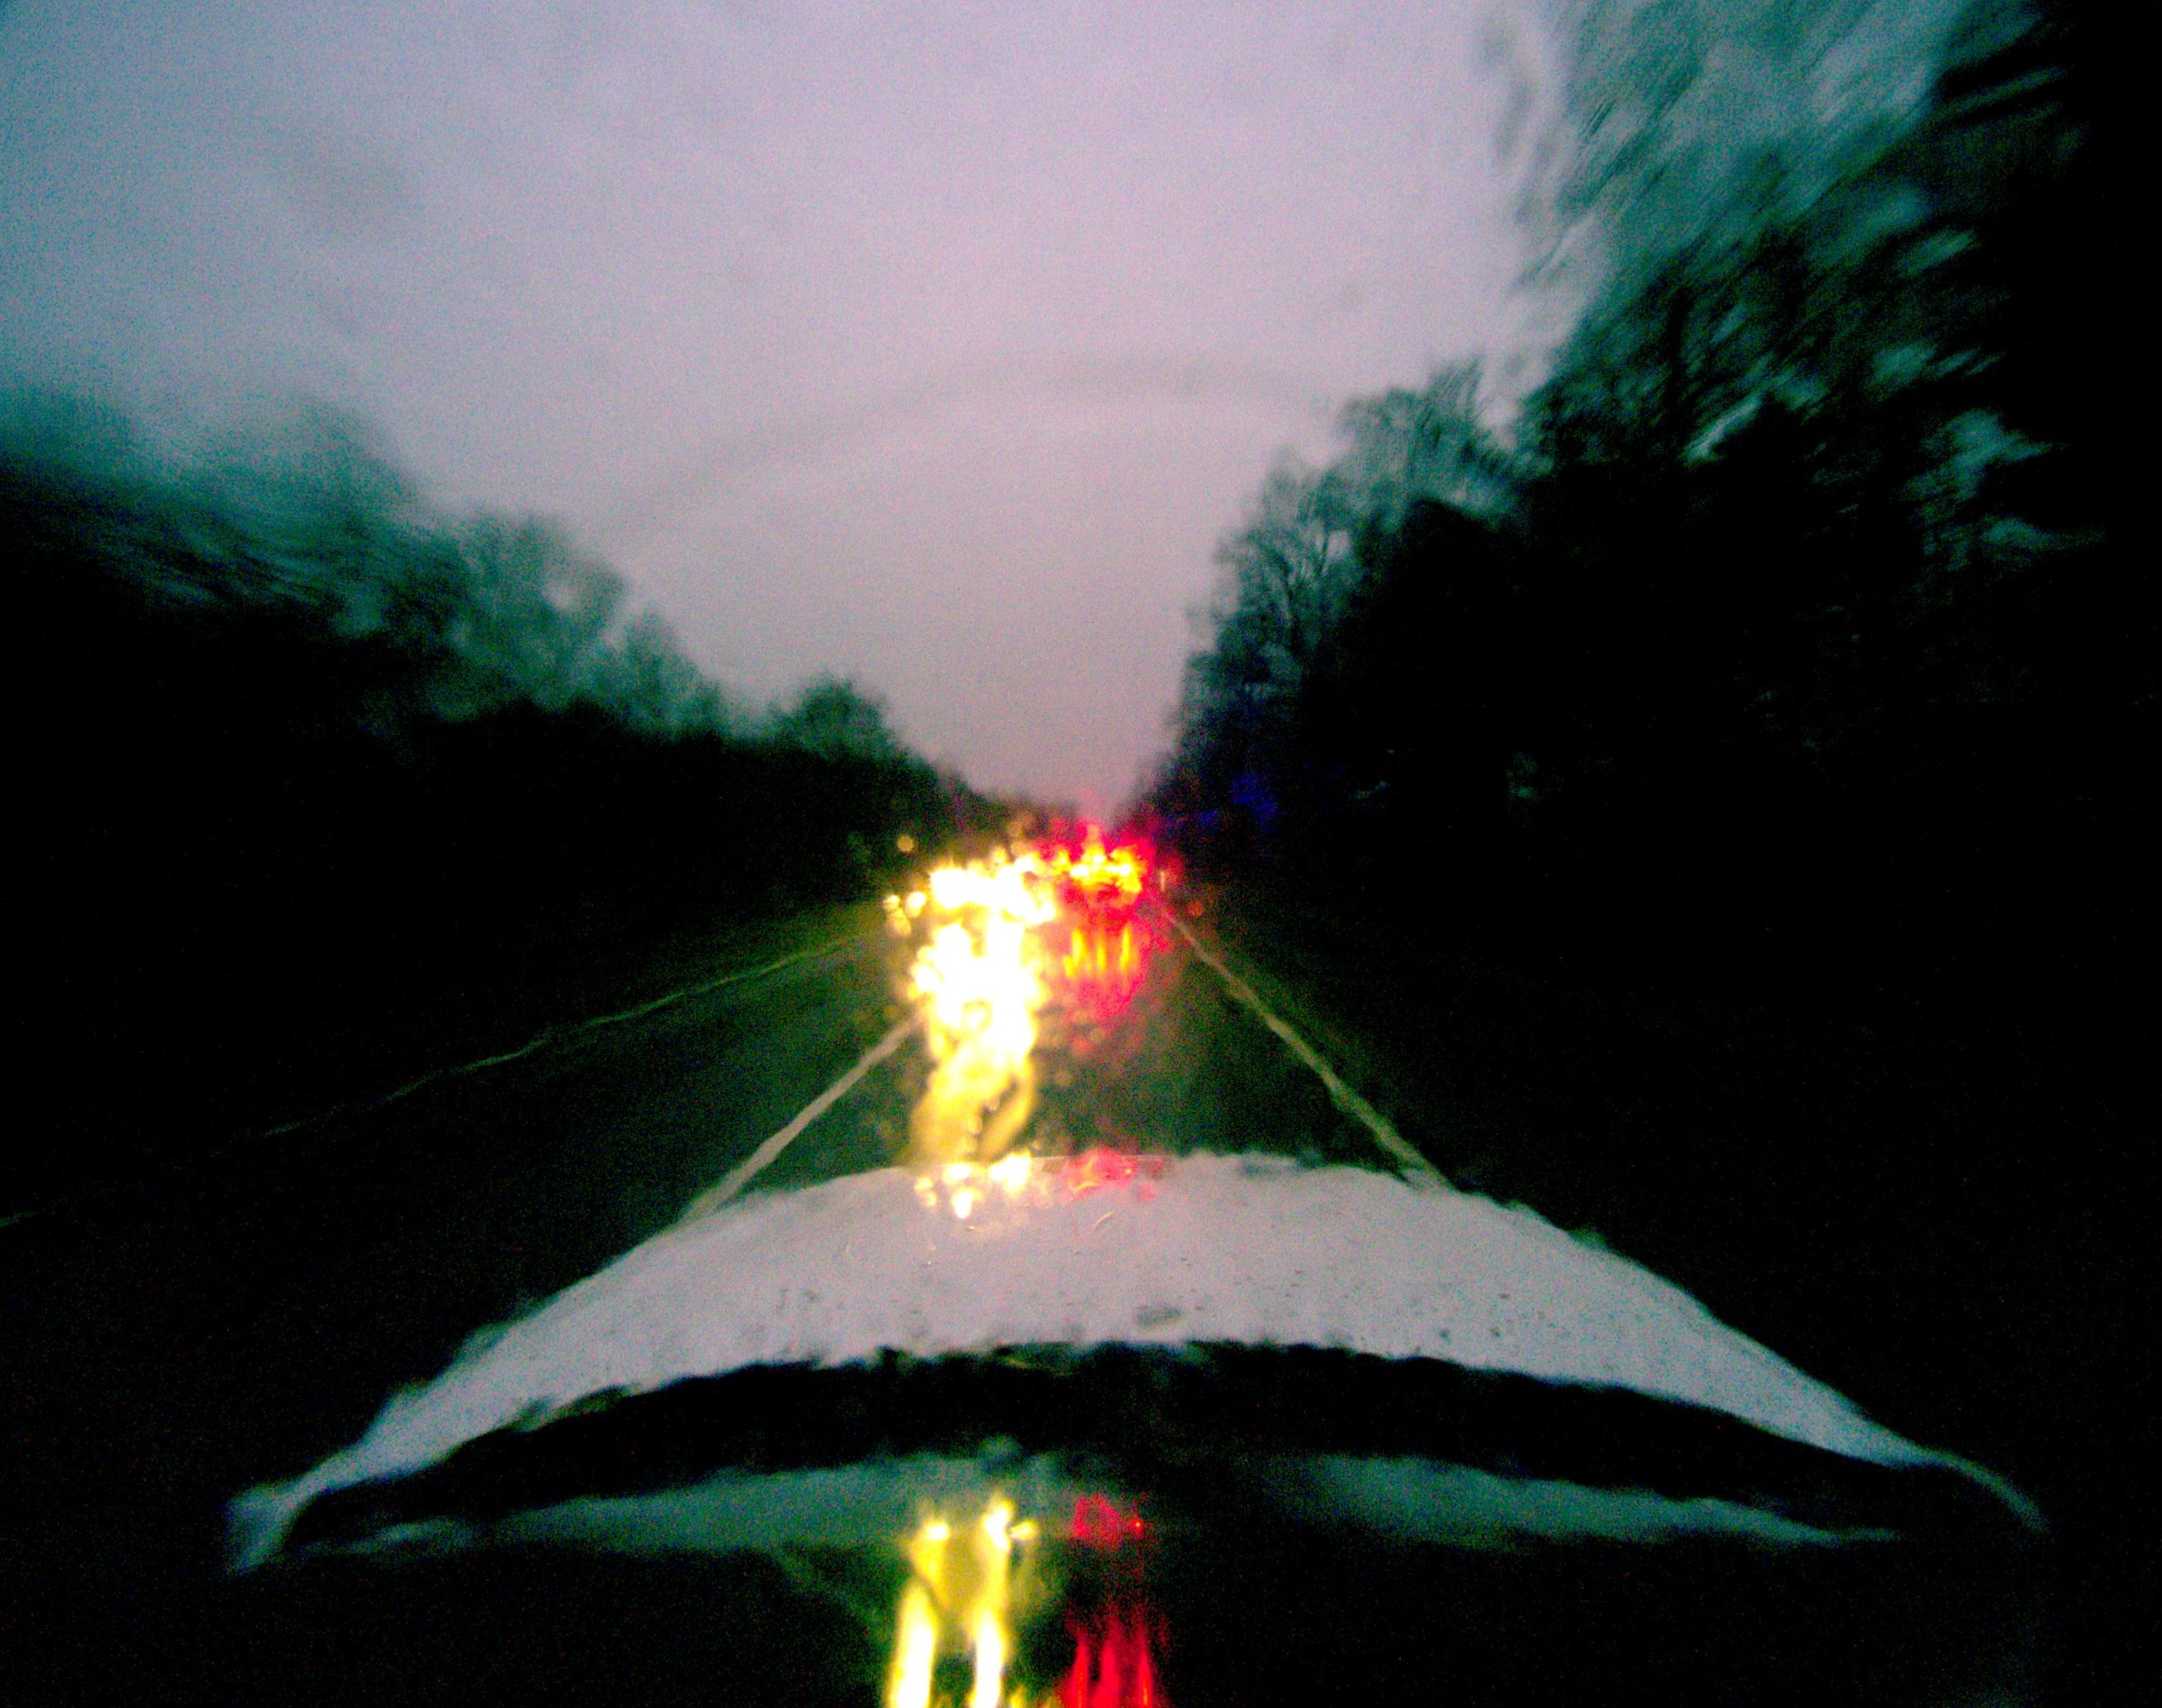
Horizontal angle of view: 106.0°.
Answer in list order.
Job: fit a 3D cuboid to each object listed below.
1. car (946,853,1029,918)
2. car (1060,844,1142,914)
[{"bbox_3d":[-2.493,0.797,22.703,1.688,1.560,4.131,0,1,2],"label":"car"},{"bbox_3d":[0.592,0.674,24.325,2.190,1.877,4.828,0,0,1],"label":"car"}]
